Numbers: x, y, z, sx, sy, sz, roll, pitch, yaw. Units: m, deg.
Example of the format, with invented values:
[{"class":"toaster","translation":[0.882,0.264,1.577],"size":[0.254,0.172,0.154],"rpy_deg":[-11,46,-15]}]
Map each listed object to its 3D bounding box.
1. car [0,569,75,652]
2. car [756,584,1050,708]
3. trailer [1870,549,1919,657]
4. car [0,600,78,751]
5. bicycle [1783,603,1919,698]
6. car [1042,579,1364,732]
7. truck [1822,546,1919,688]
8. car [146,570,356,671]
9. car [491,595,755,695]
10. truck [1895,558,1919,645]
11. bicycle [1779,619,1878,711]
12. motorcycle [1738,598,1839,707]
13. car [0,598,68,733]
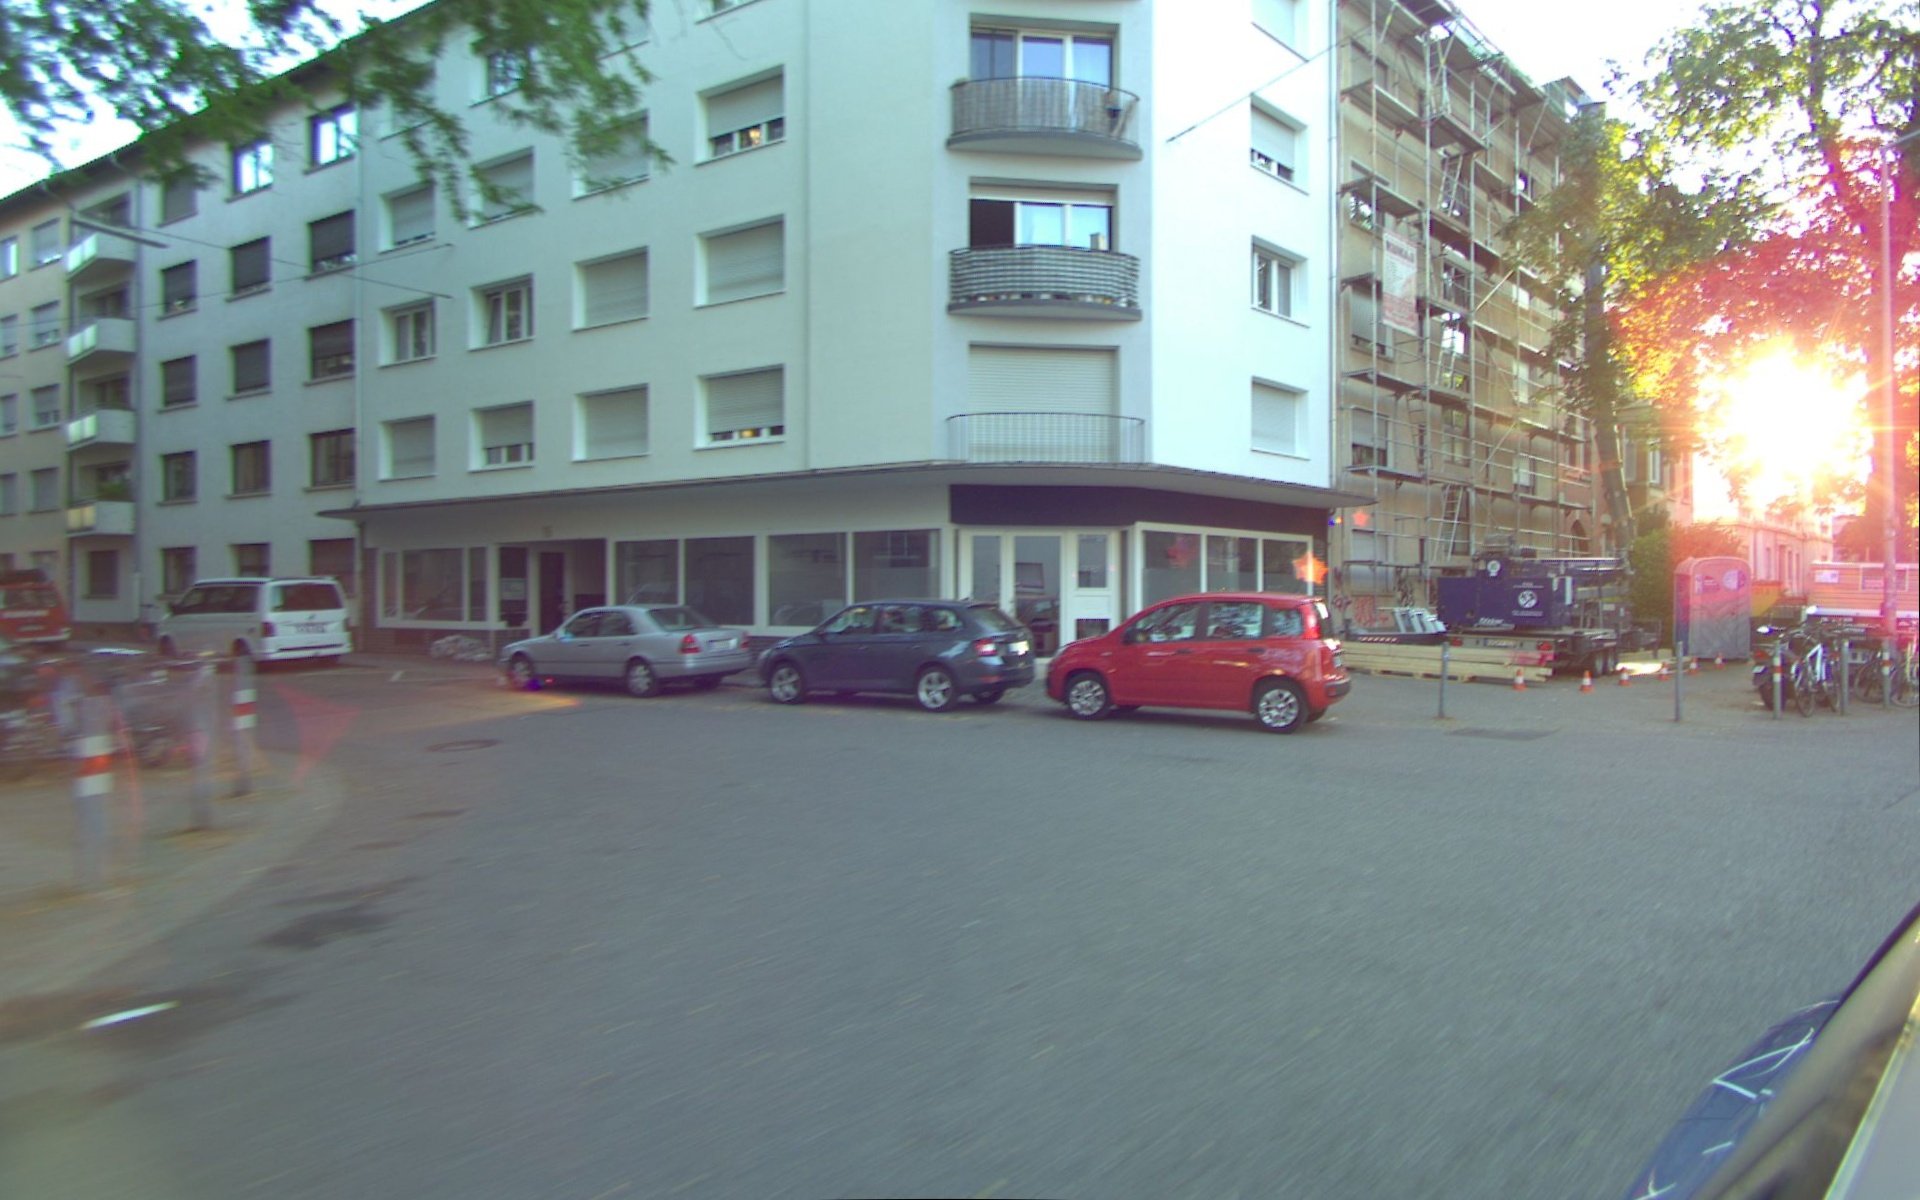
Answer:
[{"class":"car","translation":[-27.367,0.307,28.746],"size":[4.433,2.228,1.890],"rpy_deg":[-1,0,28]},{"class":"car","translation":[-0.830,0.611,14.136],"size":[3.861,1.527,1.610],"rpy_deg":[-1,-2,29]},{"class":"trailer","translation":[22.532,0.075,23.178],"size":[4.564,2.324,1.957],"rpy_deg":[0,2,-42]},{"class":"car","translation":[-10.820,0.762,9.590],"size":[1.668,1.496,3.394],"rpy_deg":[-1,0,32]},{"class":"bicycle","translation":[13.312,0.724,14.824],"size":[1.903,1.274,0.400],"rpy_deg":[3,2,44]},{"class":"car","translation":[2.889,0.572,12.126],"size":[3.449,1.593,1.609],"rpy_deg":[1,-1,30]},{"class":"truck","translation":[17.551,0.236,18.562],"size":[6.664,2.273,1.979],"rpy_deg":[-1,0,-44]},{"class":"car","translation":[-15.541,0.433,22.164],"size":[4.431,2.044,1.891],"rpy_deg":[-1,0,27]},{"class":"car","translation":[-5.558,0.695,16.603],"size":[4.192,1.447,1.642],"rpy_deg":[-1,0,27]},{"class":"truck","translation":[27.282,0.086,27.660],"size":[4.563,2.274,1.958],"rpy_deg":[1,2,-41]},{"class":"bicycle","translation":[11.527,0.829,13.408],"size":[2.113,1.123,0.407],"rpy_deg":[0,2,-34]},{"class":"motorcycle","translation":[11.371,0.674,13.865],"size":[2.022,1.373,0.504],"rpy_deg":[-1,2,-35]},{"class":"car","translation":[-12.668,0.769,11.135],"size":[1.812,1.573,3.955],"rpy_deg":[0,0,32]}]
